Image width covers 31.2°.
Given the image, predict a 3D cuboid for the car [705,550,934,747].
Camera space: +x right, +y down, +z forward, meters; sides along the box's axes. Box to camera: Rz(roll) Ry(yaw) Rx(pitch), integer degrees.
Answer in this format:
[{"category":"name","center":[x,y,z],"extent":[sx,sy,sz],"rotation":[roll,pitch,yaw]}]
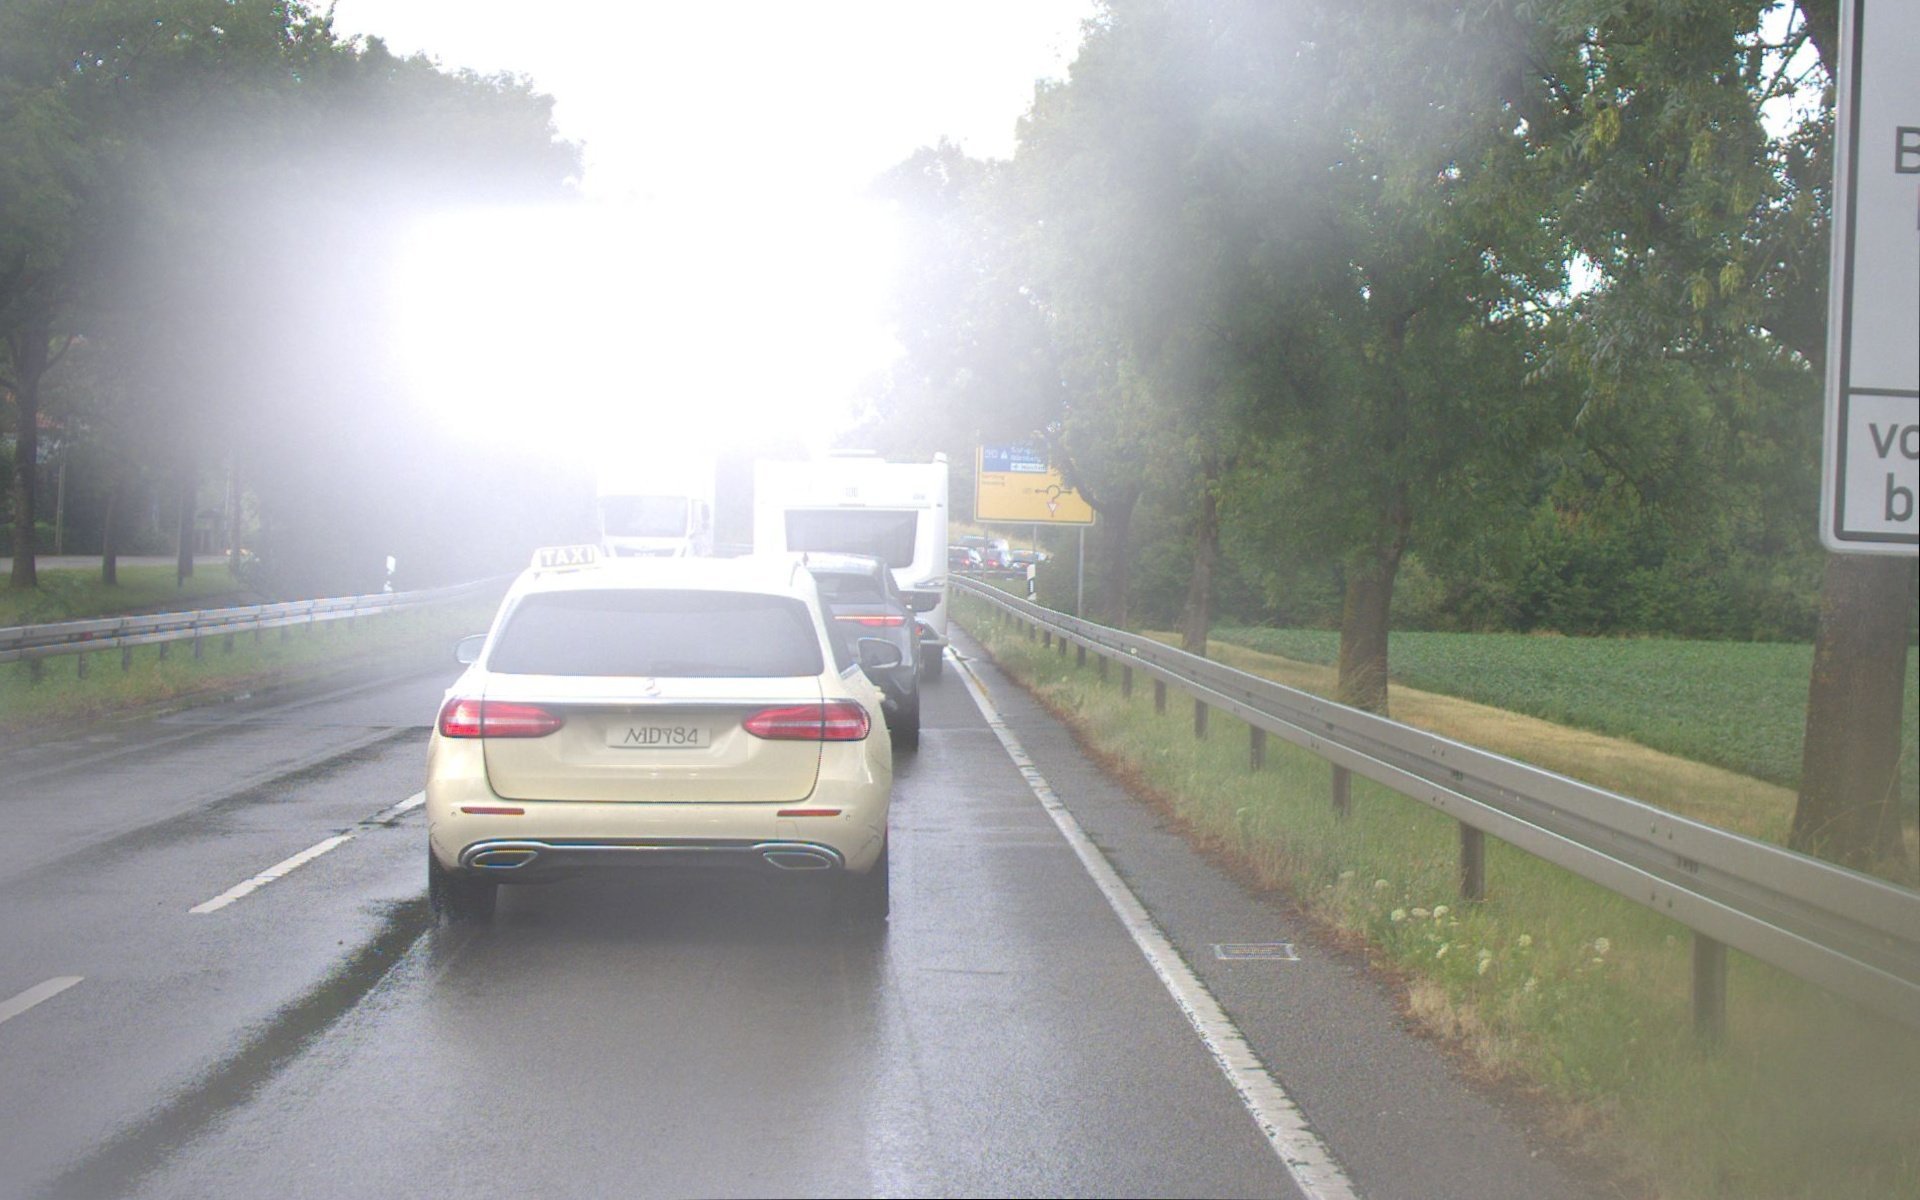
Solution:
[{"category":"car","center":[-1.052,0.330,27.345],"extent":[1.664,1.426,4.000],"rotation":[0,1,0]}]

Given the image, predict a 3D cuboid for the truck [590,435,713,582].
[{"category":"truck","center":[-7.587,-2.233,85.495],"extent":[2.576,3.440,9.557],"rotation":[0,1,-2]}]

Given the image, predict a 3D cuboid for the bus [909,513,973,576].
[{"category":"bus","center":[-0.636,-1.795,111.620],"extent":[1.993,2.007,4.000],"rotation":[0,1,-2]}]

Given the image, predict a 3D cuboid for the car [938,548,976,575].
[{"category":"car","center":[-0.128,-1.603,143.679],"extent":[1.551,1.114,4.000],"rotation":[1,0,0]}]

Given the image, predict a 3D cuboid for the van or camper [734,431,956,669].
[{"category":"van or camper","center":[-1.325,-0.619,42.223],"extent":[2.489,2.676,5.700],"rotation":[1,1,0]}]

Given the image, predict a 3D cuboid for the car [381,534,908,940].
[{"category":"car","center":[-1.183,0.466,14.561],"extent":[1.865,1.471,4.000],"rotation":[0,1,0]}]
